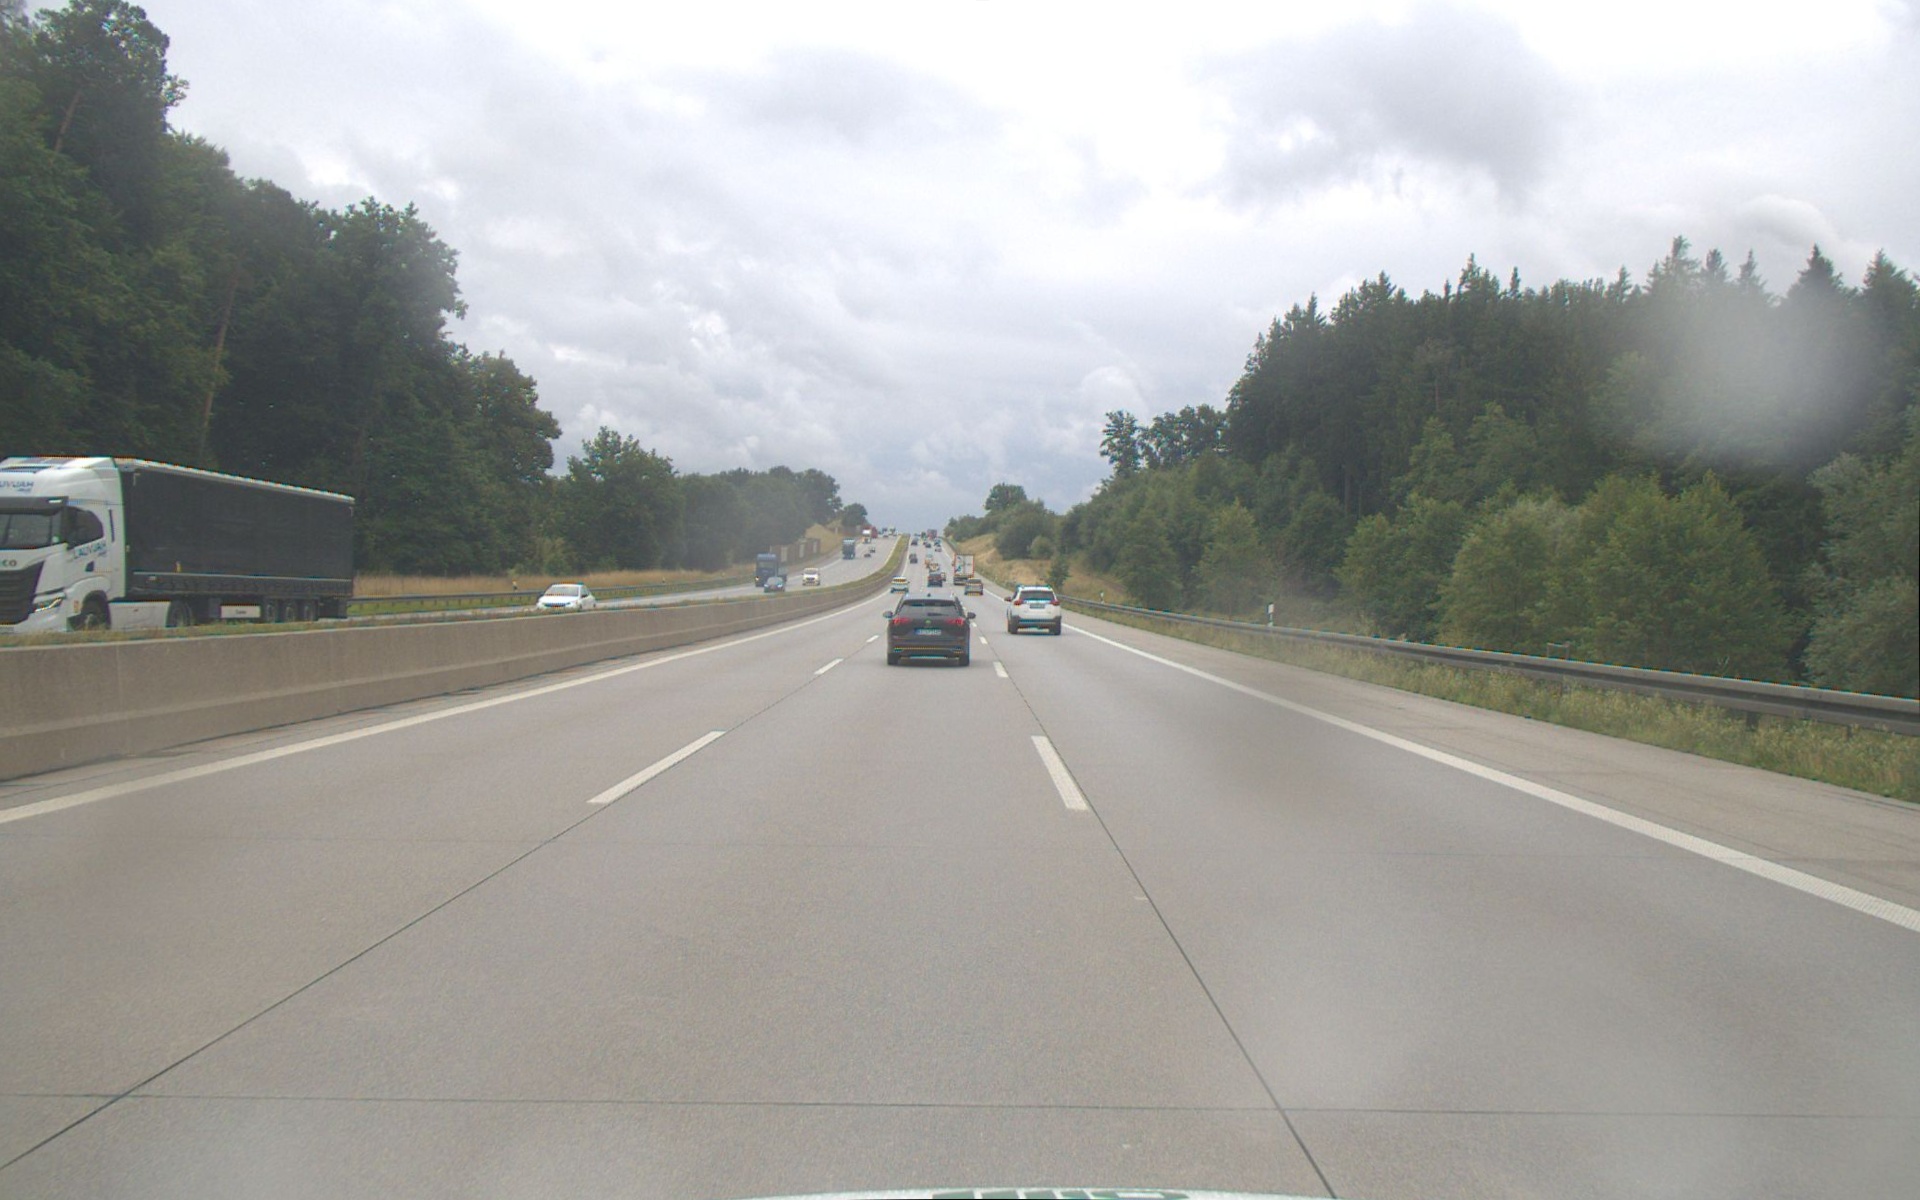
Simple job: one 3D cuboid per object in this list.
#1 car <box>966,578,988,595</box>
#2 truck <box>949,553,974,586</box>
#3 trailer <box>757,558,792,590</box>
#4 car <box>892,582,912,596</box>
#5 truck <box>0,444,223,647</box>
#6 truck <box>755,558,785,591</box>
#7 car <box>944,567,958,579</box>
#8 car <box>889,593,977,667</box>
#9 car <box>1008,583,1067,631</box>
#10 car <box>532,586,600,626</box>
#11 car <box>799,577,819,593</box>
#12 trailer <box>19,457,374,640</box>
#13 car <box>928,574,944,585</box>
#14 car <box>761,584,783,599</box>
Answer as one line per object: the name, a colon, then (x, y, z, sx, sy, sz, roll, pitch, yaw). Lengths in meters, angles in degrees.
car: (1.679, -1.315, 163.509, 1.954, 1.556, 3.998, 3, 0, -2)
truck: (0.196, -4.081, 218.708, 2.956, 4.252, 8.353, 1, 2, -2)
trailer: (-21.803, -3.006, 195.360, 2.729, 3.569, 13.883, 1, 1, -1)
car: (-5.897, -1.125, 167.675, 1.908, 1.380, 4.259, 1, -1, 0)
truck: (-19.932, -1.171, 37.571, 3.147, 4.128, 7.165, 1, 0, -1)
truck: (-21.657, -2.910, 188.474, 2.701, 3.578, 6.639, 1, 0, -1)
car: (-1.337, -3.914, 242.821, 1.952, 1.668, 4.001, 1, 2, 0)
car: (-0.529, 0.594, 34.916, 1.716, 1.422, 4.484, 1, 0, 0)
car: (2.737, 0.234, 59.138, 1.789, 1.684, 3.983, 0, 0, -3)
car: (-15.766, 0.212, 66.429, 1.747, 1.494, 4.371, 0, 1, -1)
car: (-18.156, -1.845, 199.029, 2.046, 1.832, 5.496, 1, 1, -1)
trailer: (-20.020, -1.246, 45.005, 3.169, 4.123, 14.129, 1, 1, -1)
car: (-2.962, -2.557, 206.021, 1.896, 1.399, 4.594, 1, 1, 0)
car: (-17.863, -0.812, 157.378, 1.810, 1.400, 4.435, 1, 1, -3)
